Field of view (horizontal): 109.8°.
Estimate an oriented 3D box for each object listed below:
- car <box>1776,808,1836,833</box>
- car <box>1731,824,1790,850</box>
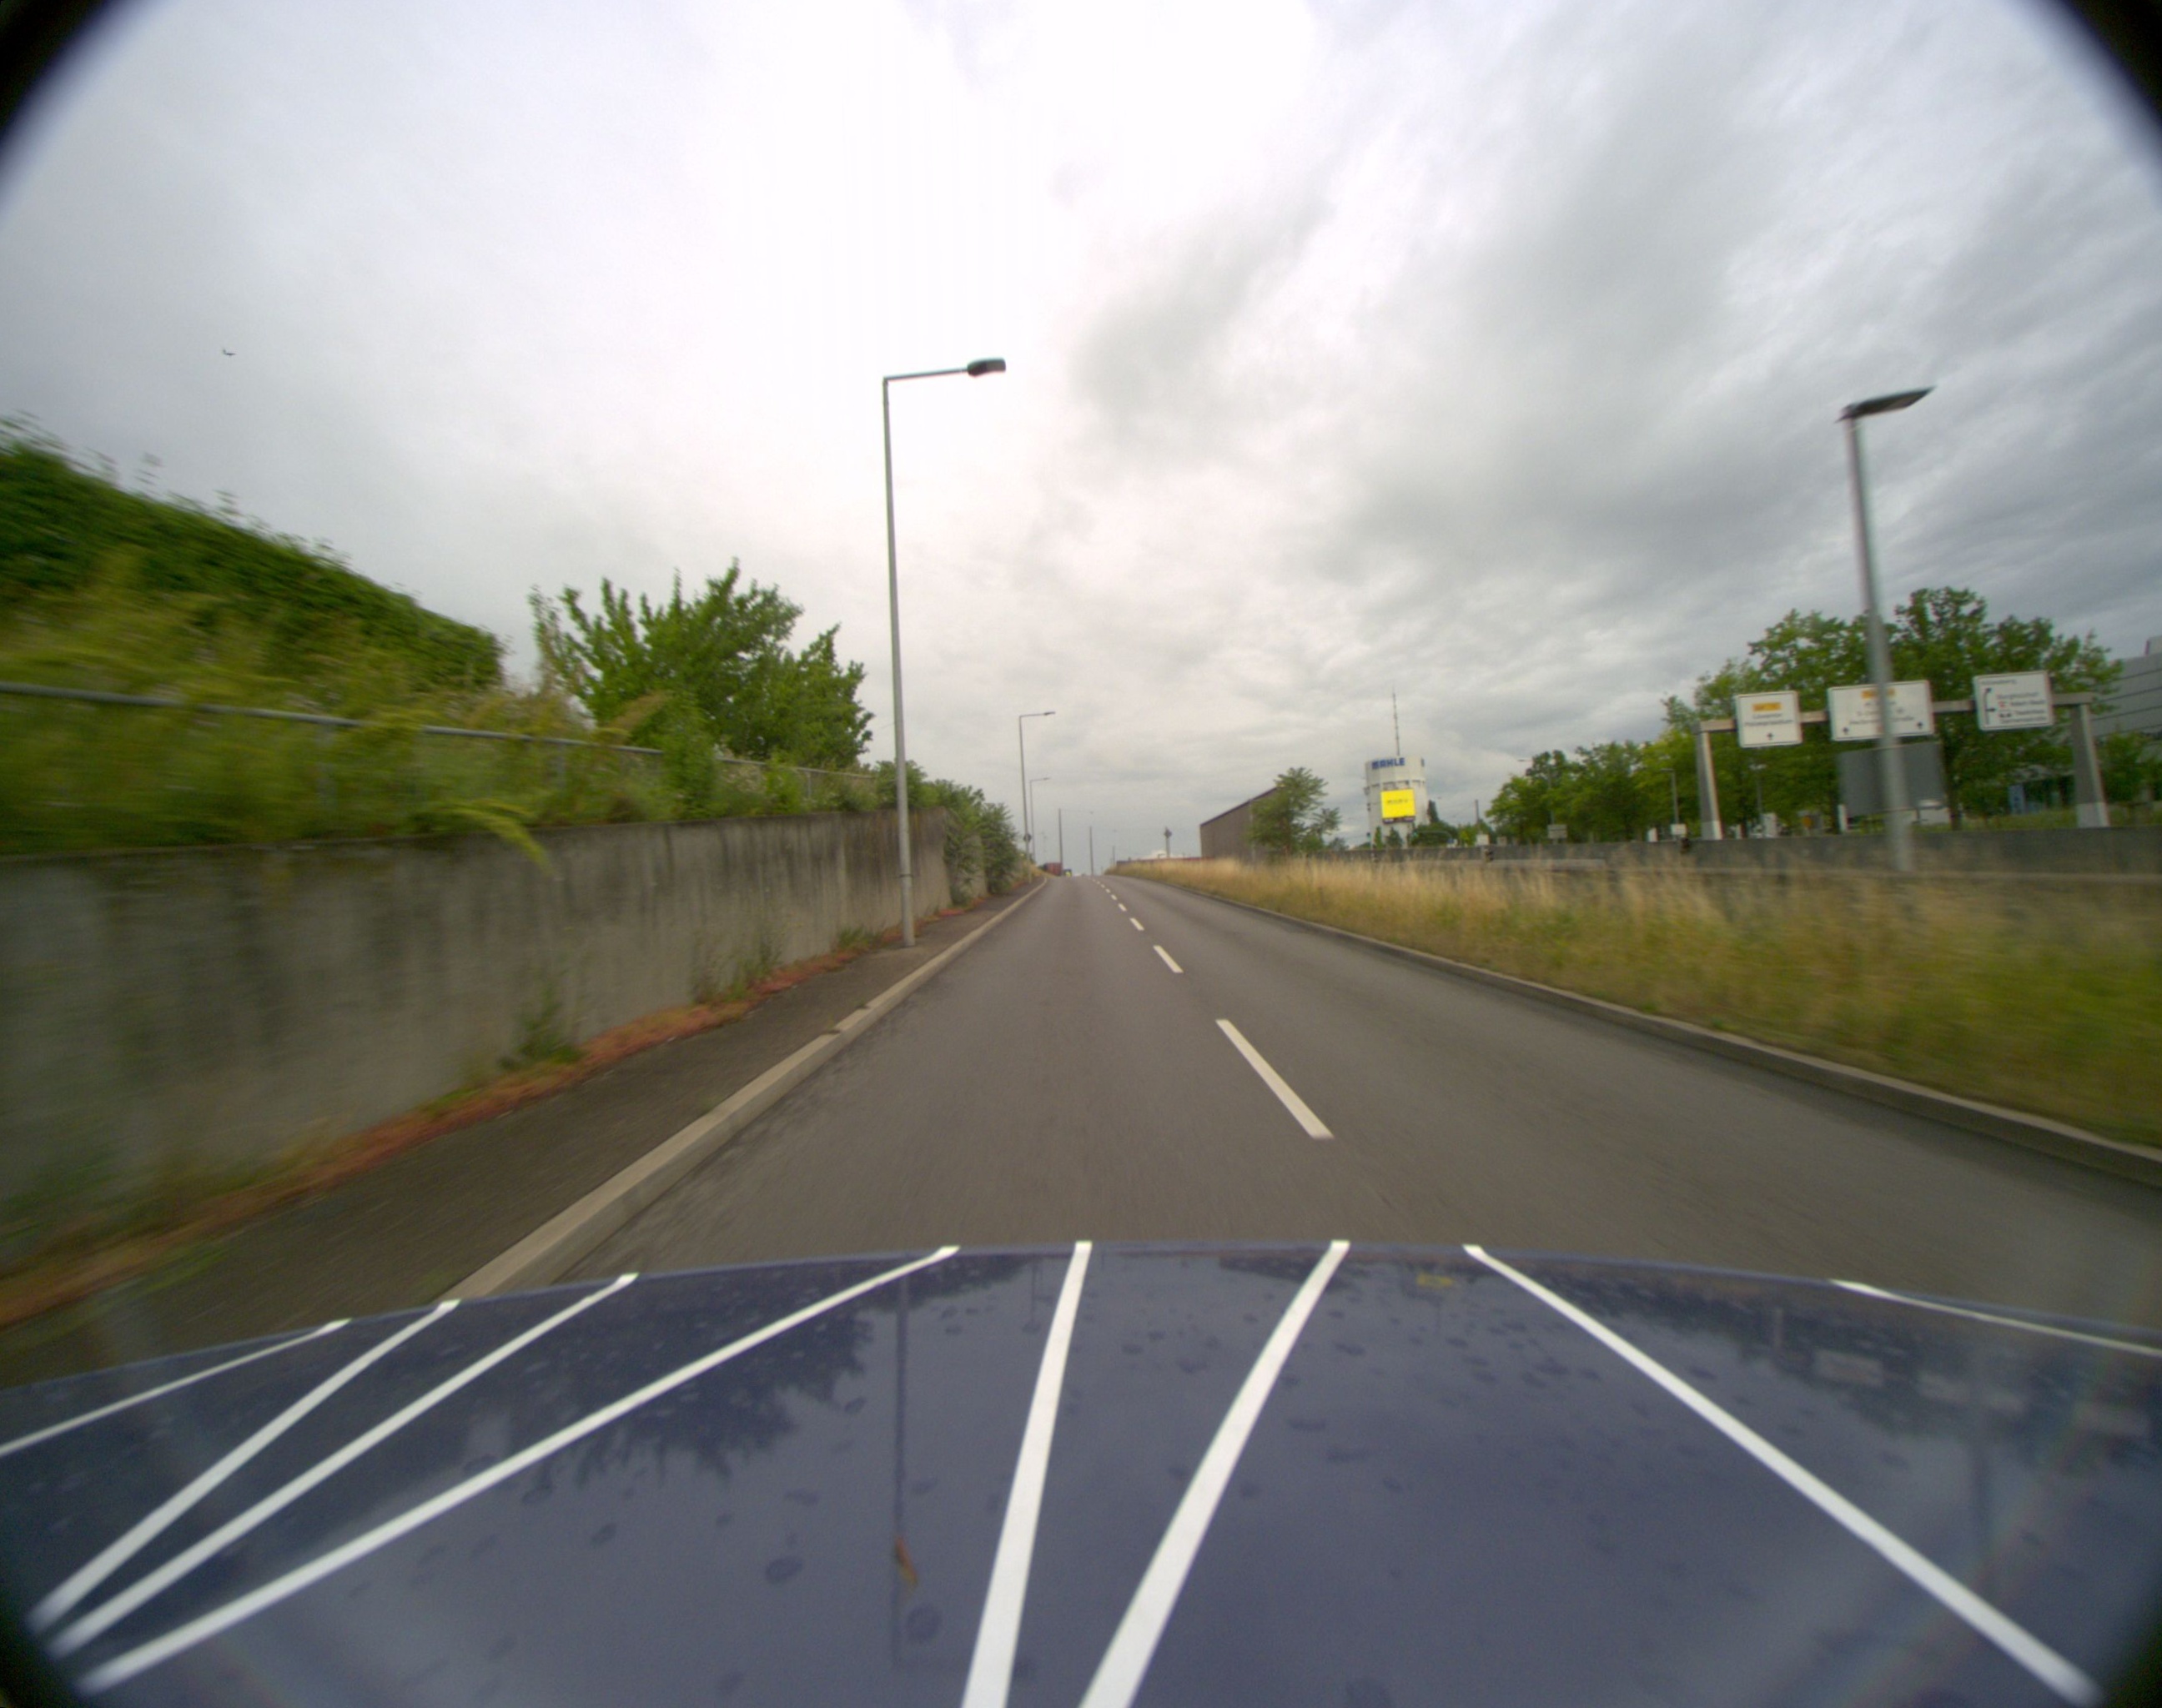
[{"bbox_3d":[74.960,-3.442,78.621,1.999,2.000,4.002,-5,-4,-4],"label":"car"},{"bbox_3d":[68.579,-1.678,76.727,1.999,2.000,4.002,-5,-4,-4],"label":"car"}]
